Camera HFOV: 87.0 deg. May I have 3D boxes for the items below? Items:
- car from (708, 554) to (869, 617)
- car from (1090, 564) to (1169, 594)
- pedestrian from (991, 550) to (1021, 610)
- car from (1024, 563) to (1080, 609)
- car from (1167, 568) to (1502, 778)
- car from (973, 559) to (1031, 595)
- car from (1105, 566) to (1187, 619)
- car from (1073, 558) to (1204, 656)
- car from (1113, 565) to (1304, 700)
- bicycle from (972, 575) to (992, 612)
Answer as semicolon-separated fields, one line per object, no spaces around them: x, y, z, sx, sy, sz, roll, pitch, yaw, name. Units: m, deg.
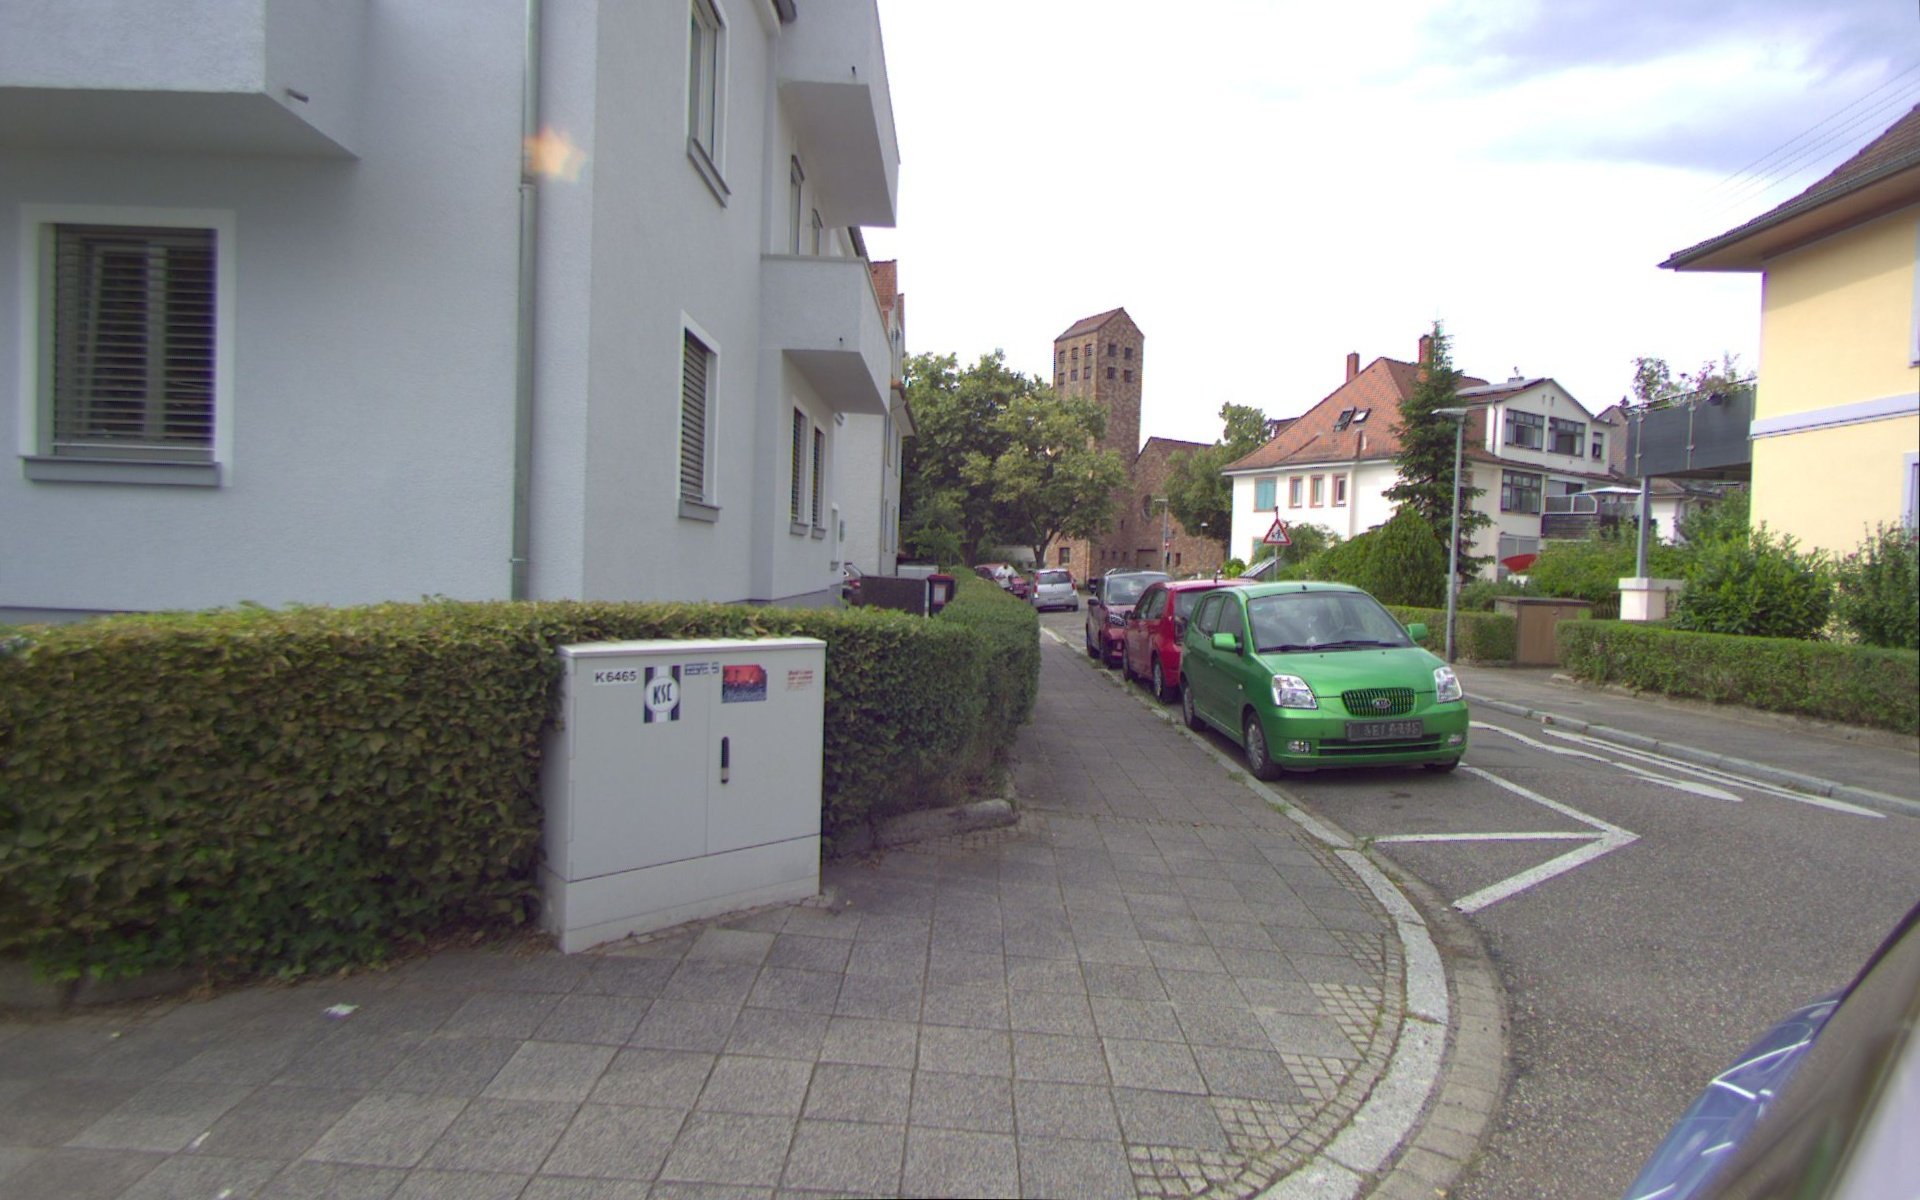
-4.497;-0.409;26.981;3.925;1.482;2.000;2;2;1;car
9.602;-1.210;57.561;4.148;1.481;1.685;2;3;0;car
1.484;-0.656;32.973;0.867;1.901;1.079;2;2;1;pedestrian
3.265;-0.534;36.291;1.619;1.514;3.483;-1;2;-1;car
3.043;0.472;8.990;1.619;1.439;3.483;-1;2;-1;car
1.865;-1.051;45.642;1.616;1.514;3.489;-2;2;-15;car
6.015;-0.299;33.137;1.819;1.498;4.043;4;2;0;car
3.039;0.046;17.864;1.619;1.514;3.483;-1;2;-1;car
3.162;0.322;13.533;1.619;1.514;3.483;-1;2;-1;car
0.705;-0.226;32.628;0.415;1.117;2.118;2;2;-4;bicycle
